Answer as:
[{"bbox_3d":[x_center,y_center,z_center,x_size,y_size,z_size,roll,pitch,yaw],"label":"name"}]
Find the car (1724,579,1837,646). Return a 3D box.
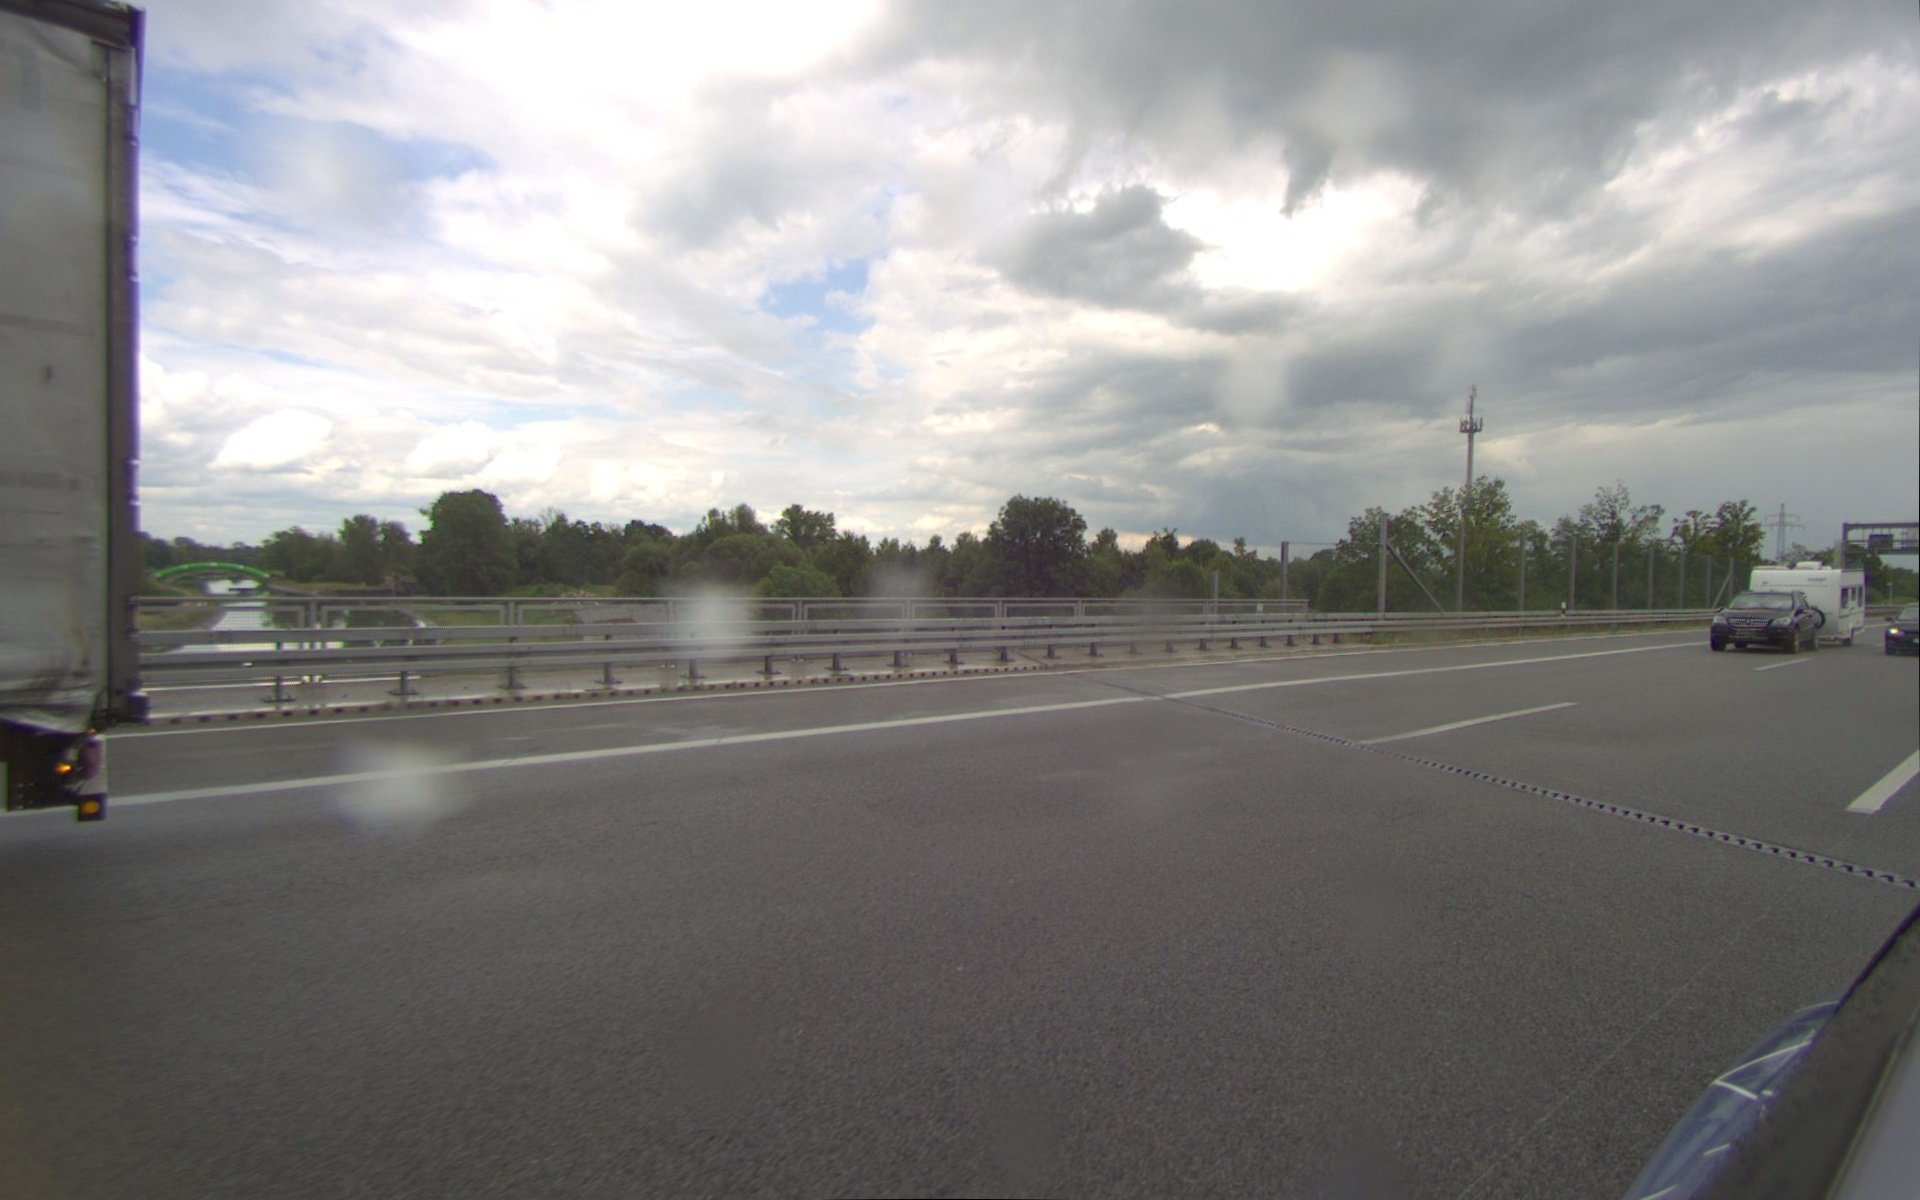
[{"bbox_3d":[23.615,0.329,29.070,4.425,1.798,1.922,0,0,-43],"label":"car"}]

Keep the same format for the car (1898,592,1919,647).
[{"bbox_3d":[27.224,0.534,27.893,3.932,1.464,1.715,0,0,-43],"label":"car"}]

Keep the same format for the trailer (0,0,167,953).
[{"bbox_3d":[-9.741,-0.648,1.053,13.871,4.071,2.966,1,0,-41],"label":"trailer"}]

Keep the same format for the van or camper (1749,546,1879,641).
[{"bbox_3d":[27.892,-0.189,32.941,7.086,2.773,2.387,0,0,-43],"label":"van or camper"}]
